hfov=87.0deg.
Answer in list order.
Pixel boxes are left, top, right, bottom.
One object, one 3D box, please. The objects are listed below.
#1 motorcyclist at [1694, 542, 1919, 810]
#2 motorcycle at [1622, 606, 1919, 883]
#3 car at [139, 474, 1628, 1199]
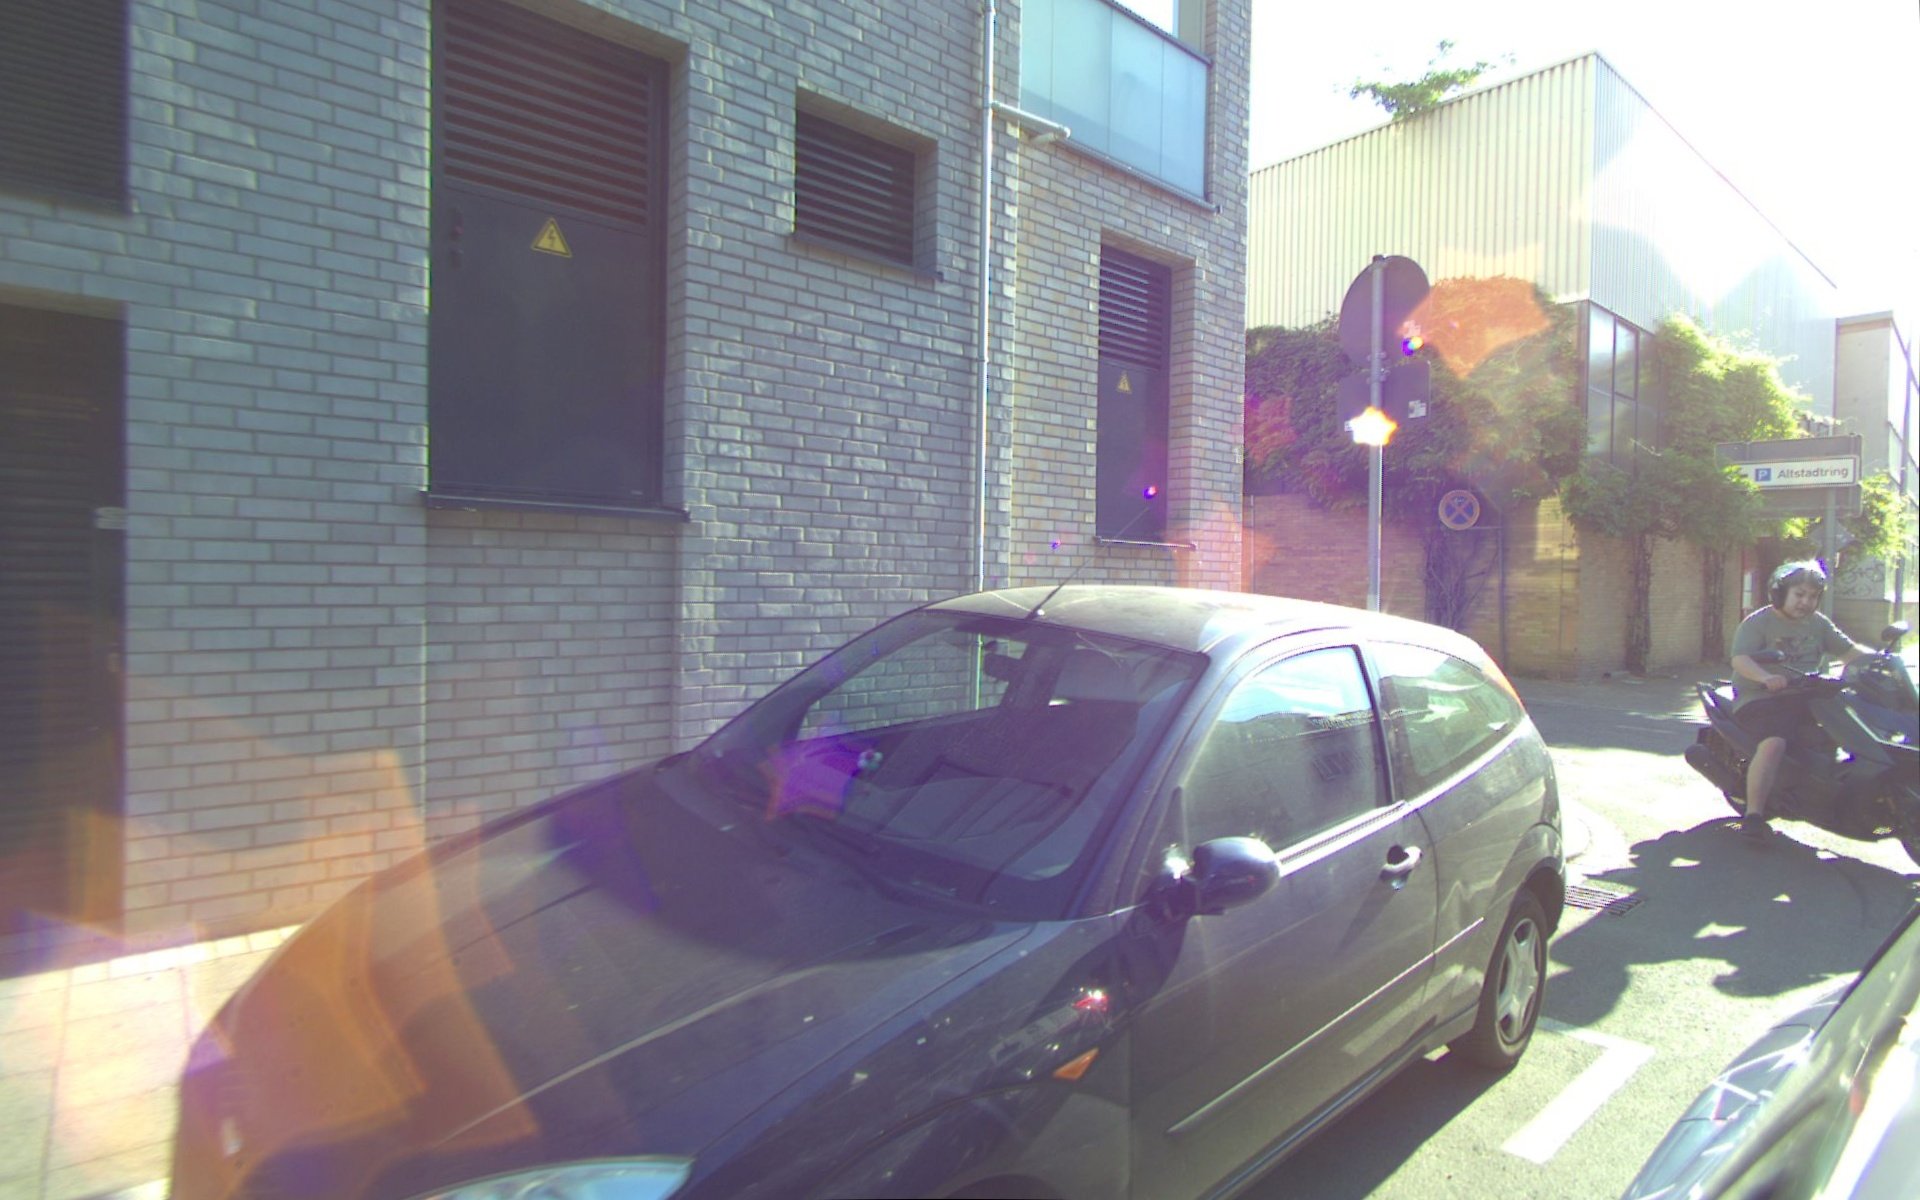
[{"bbox_3d":[5.175,0.414,6.084,0.879,1.491,0.878,0,1,4],"label":"motorcyclist"},{"bbox_3d":[5.175,0.721,6.130,0.879,1.297,2.341,0,1,3],"label":"motorcycle"},{"bbox_3d":[0.314,0.607,2.849,4.001,1.606,1.632,-1,5,-43],"label":"car"}]
